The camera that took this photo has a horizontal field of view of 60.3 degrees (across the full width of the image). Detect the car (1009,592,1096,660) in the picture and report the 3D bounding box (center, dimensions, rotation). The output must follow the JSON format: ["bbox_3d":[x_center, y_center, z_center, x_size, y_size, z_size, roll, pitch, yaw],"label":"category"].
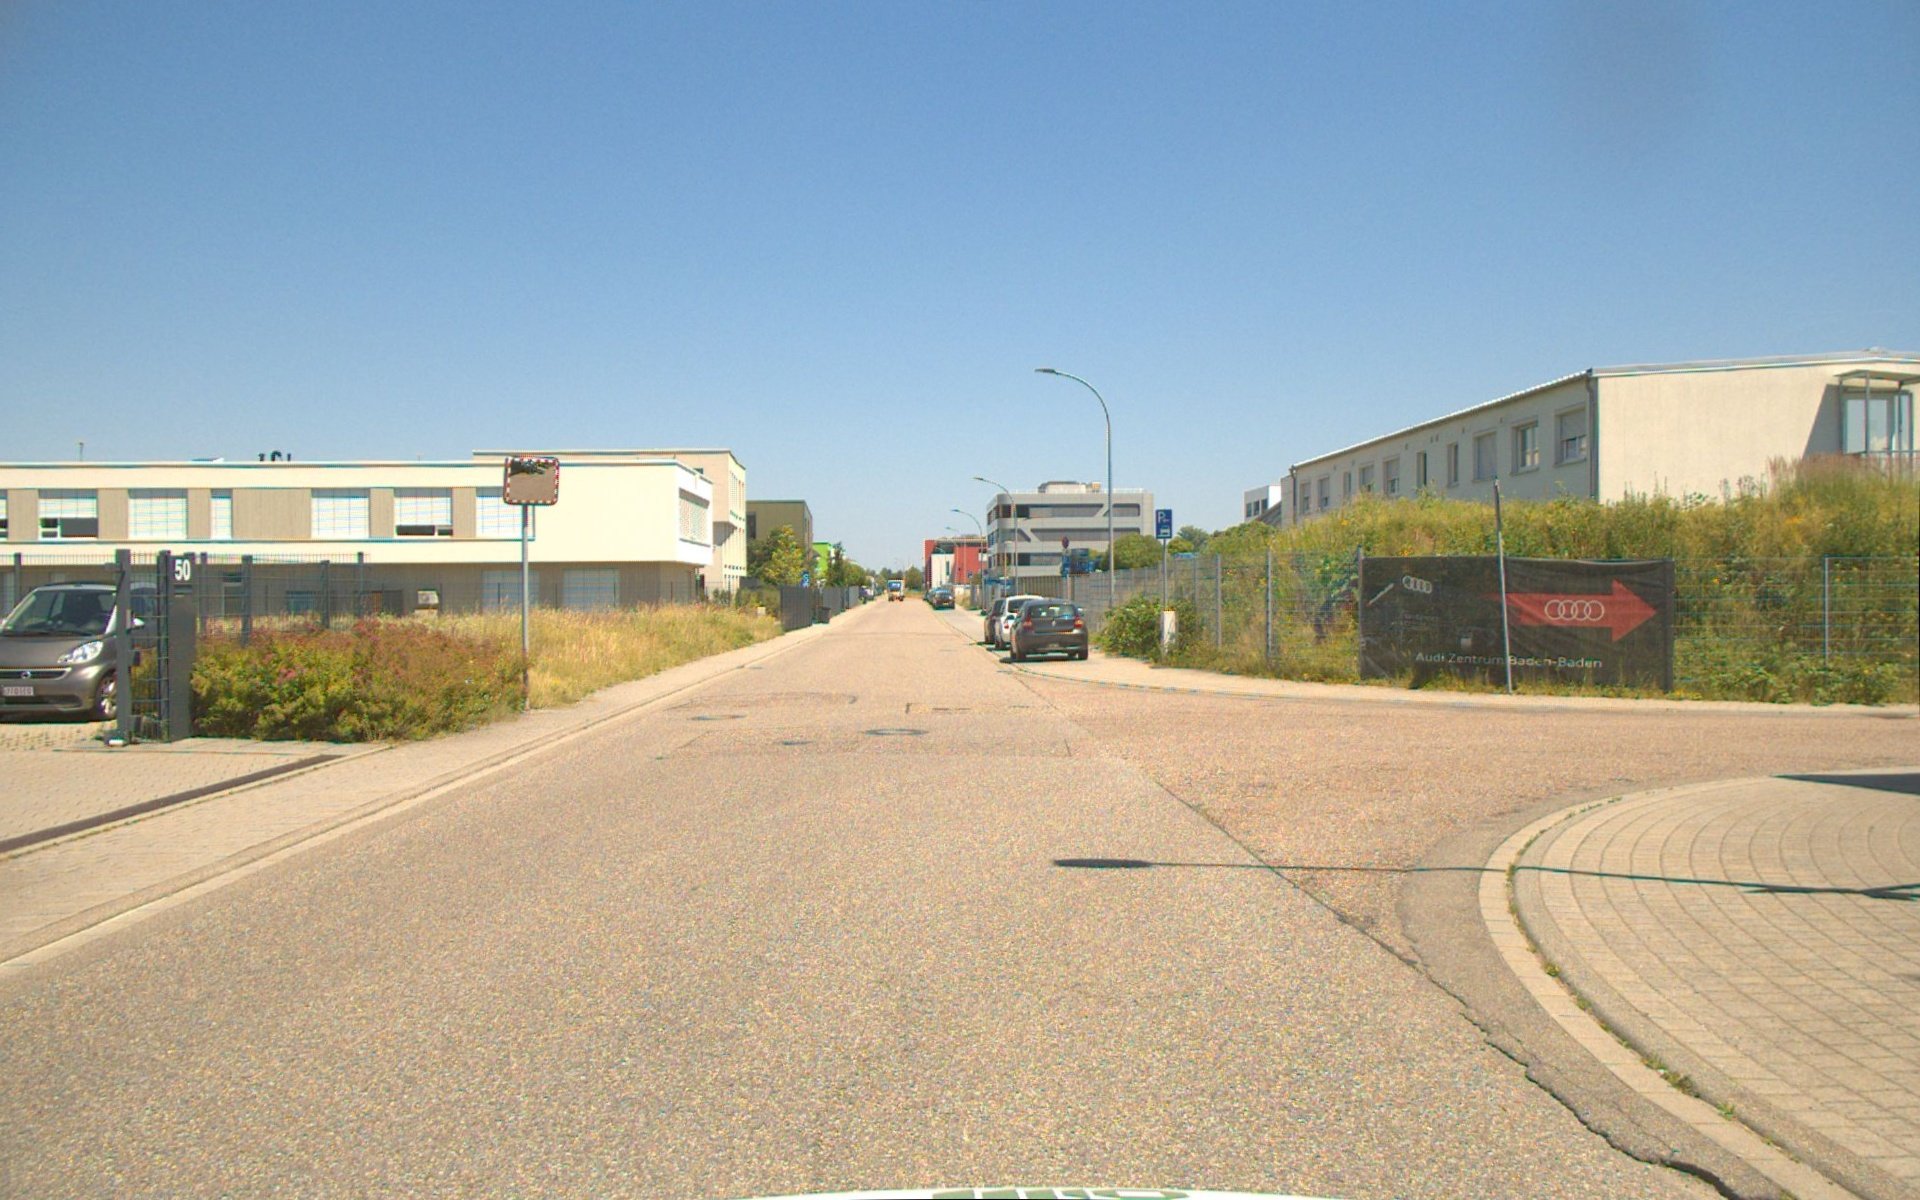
[{"bbox_3d":[2.178,0.587,39.823,1.868,1.473,4.001,-2,0,1],"label":"car"}]

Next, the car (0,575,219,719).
[{"bbox_3d":[-10.159,0.500,19.484,1.666,1.547,2.995,-1,1,-4],"label":"car"}]

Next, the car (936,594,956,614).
[{"bbox_3d":[-1.260,0.375,150.214,1.740,1.758,3.999,1,0,-2],"label":"car"}]

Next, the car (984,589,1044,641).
[{"bbox_3d":[1.747,0.473,54.756,1.868,1.573,4.001,-2,0,1],"label":"car"}]

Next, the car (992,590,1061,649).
[{"bbox_3d":[1.935,0.546,49.093,1.868,1.573,4.001,-2,0,1],"label":"car"}]

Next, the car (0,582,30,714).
[{"bbox_3d":[-12.189,0.595,18.254,1.789,1.568,3.997,-1,1,-4],"label":"car"}]
